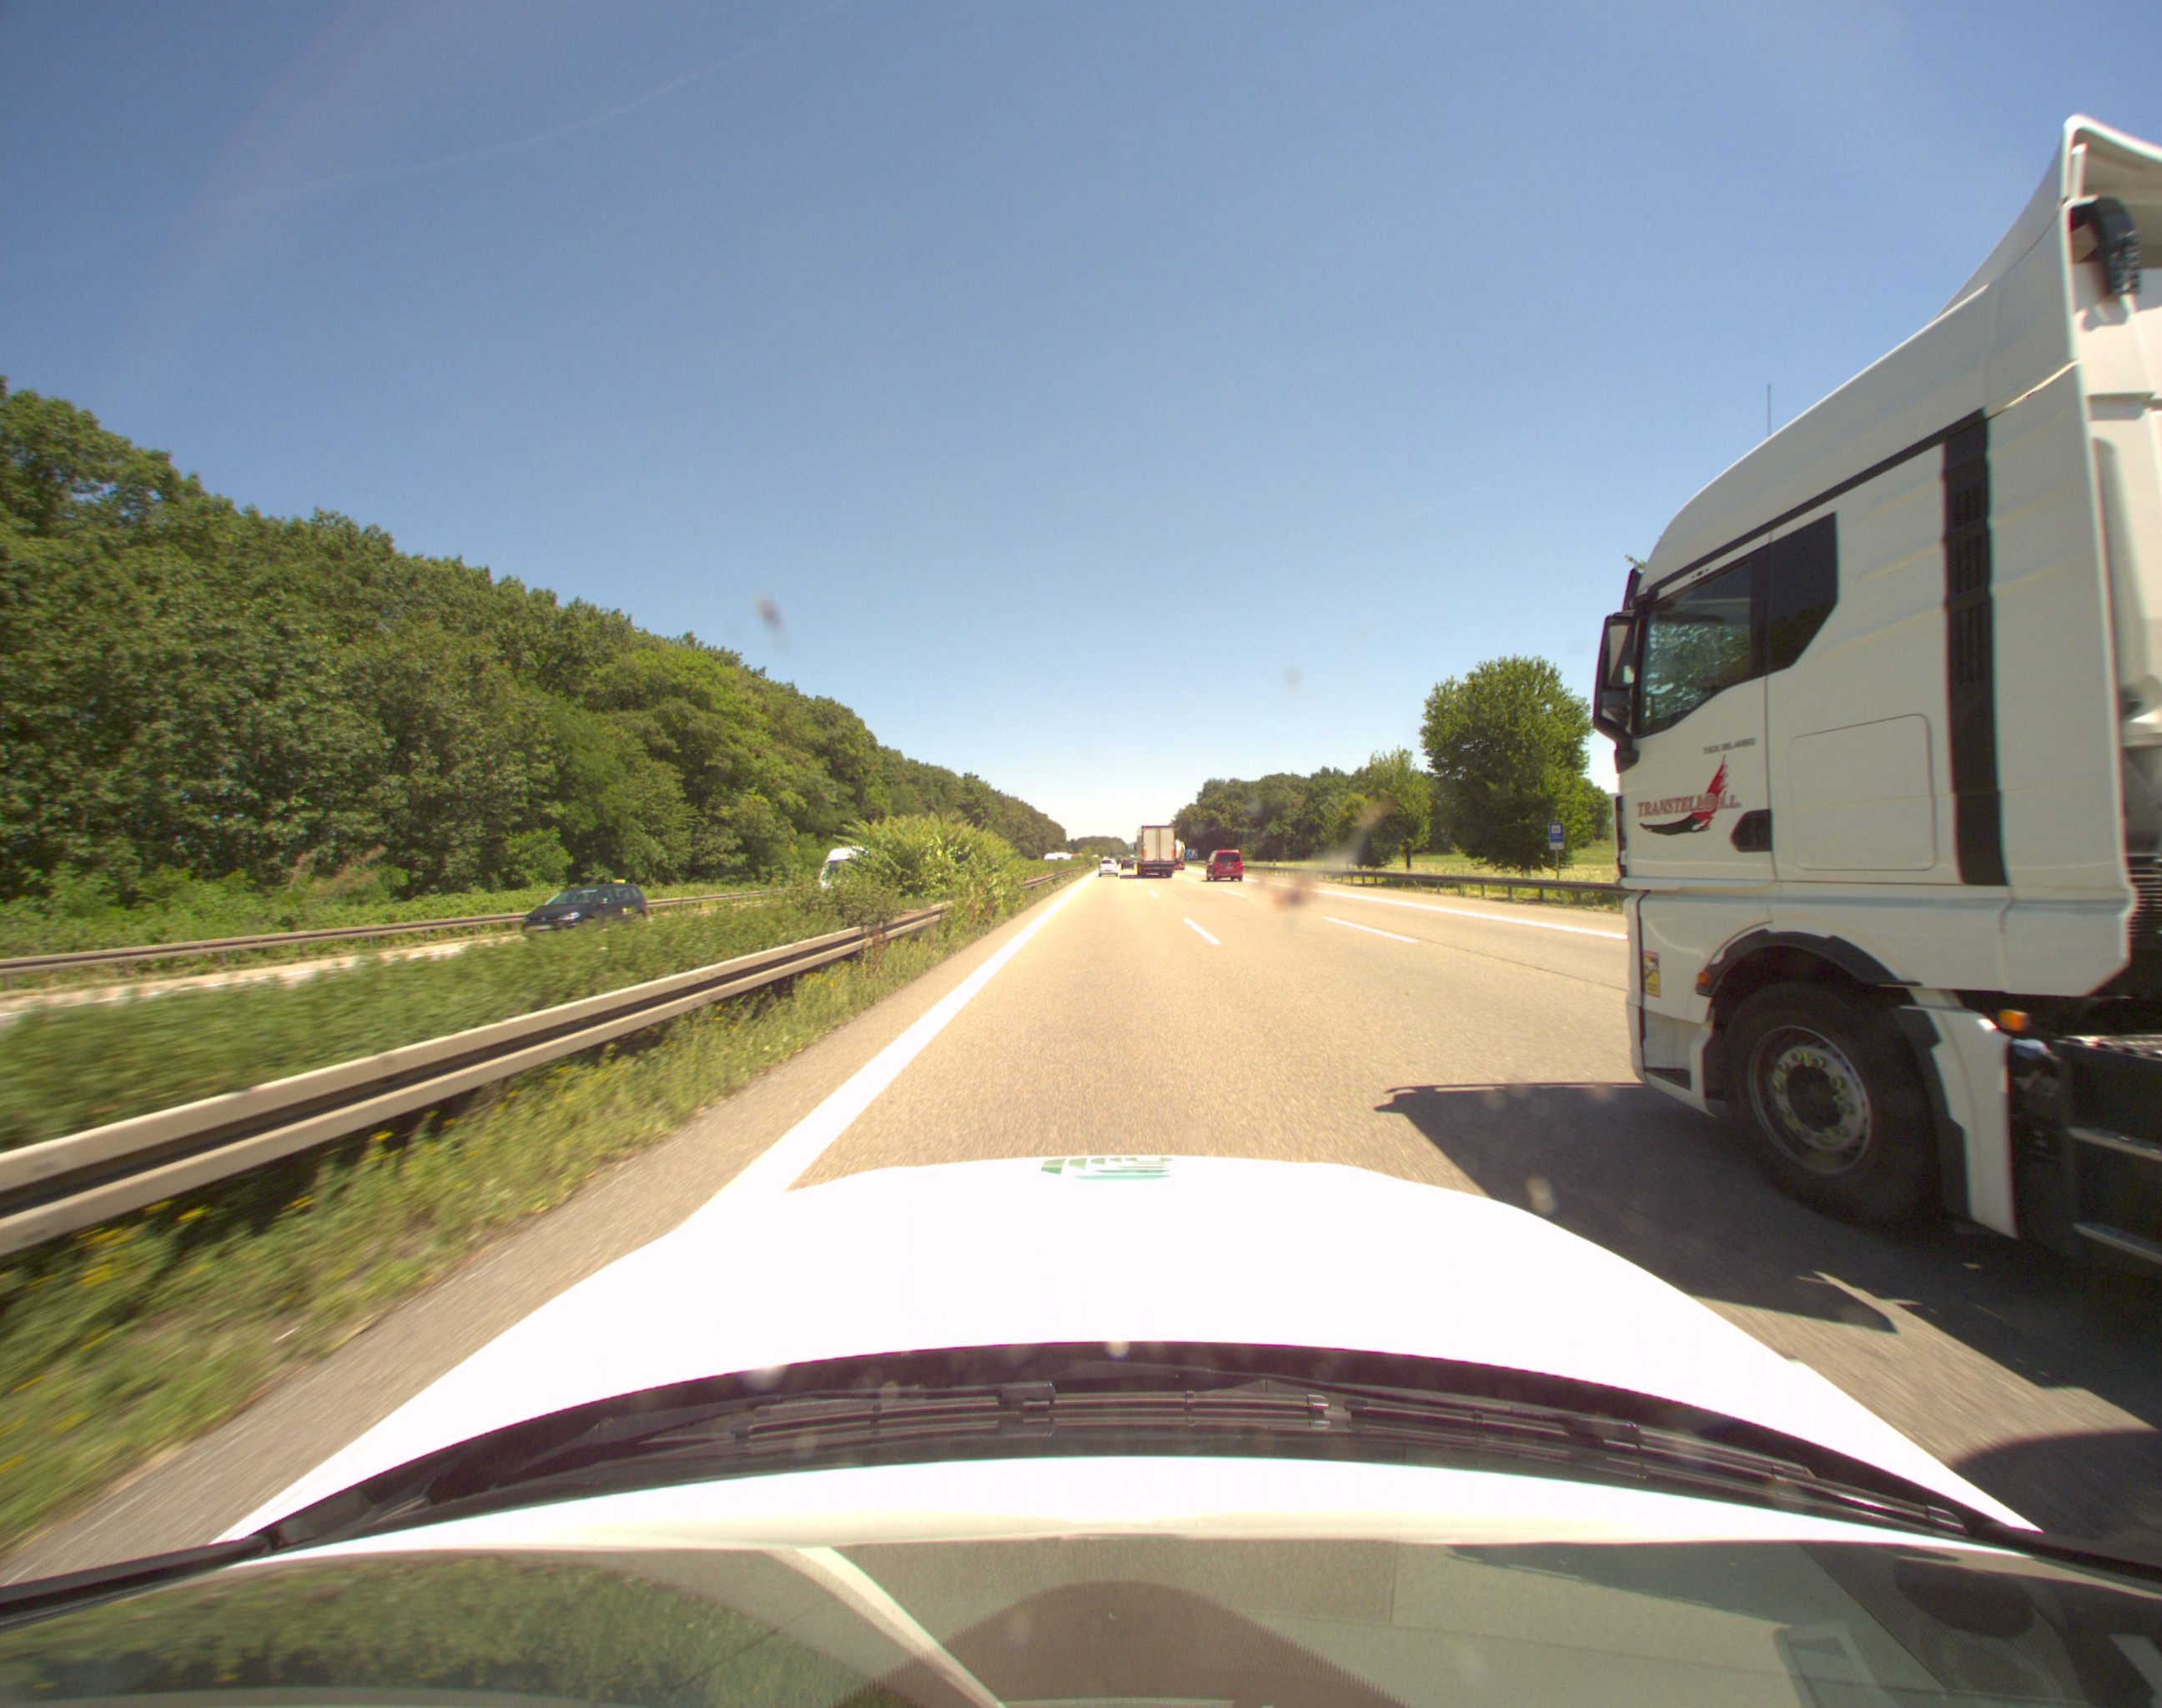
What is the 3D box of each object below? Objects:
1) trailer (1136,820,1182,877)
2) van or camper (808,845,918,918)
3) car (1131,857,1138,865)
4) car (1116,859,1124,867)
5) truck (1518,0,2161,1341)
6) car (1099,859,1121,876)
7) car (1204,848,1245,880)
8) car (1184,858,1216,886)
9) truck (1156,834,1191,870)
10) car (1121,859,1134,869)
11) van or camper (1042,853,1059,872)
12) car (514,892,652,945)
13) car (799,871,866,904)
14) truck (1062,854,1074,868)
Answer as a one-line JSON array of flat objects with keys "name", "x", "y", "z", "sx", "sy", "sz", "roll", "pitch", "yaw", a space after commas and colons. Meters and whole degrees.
[{"name": "trailer", "x": 6.255, "y": -0.396, "z": 67.221, "sx": 3.210, "sy": 4.143, "sz": 12.361, "roll": -2, "pitch": 0, "yaw": 3}, {"name": "van or camper", "x": -7.935, "y": 0.932, "z": 30.530, "sx": 1.986, "sy": 2.370, "sz": 7.002, "roll": -2, "pitch": 0, "yaw": 2}, {"name": "car", "x": 13.281, "y": 1.707, "z": 202.266, "sx": 1.662, "sy": 1.765, "sz": 4.001, "roll": -2, "pitch": 0, "yaw": 1}, {"name": "car", "x": 10.864, "y": 2.439, "z": 225.263, "sx": 2.099, "sy": 2.014, "sz": 4.001, "roll": -1, "pitch": 0, "yaw": 2}, {"name": "truck", "x": 4.364, "y": -0.791, "z": 3.098, "sx": 2.779, "sy": 4.204, "sz": 5.003, "roll": -2, "pitch": 0, "yaw": 3}, {"name": "car", "x": 2.491, "y": 1.145, "z": 71.100, "sx": 1.805, "sy": 1.405, "sz": 3.317, "roll": -2, "pitch": 0, "yaw": 0}, {"name": "car", "x": 9.418, "y": 0.646, "z": 53.857, "sx": 1.849, "sy": 2.003, "sz": 5.524, "roll": -1, "pitch": 0, "yaw": 2}, {"name": "car", "x": 9.196, "y": 1.353, "z": 63.087, "sx": 1.986, "sy": 2.014, "sz": 4.002, "roll": -1, "pitch": 0, "yaw": 2}, {"name": "truck", "x": 11.852, "y": -0.200, "z": 105.235, "sx": 3.213, "sy": 4.345, "sz": 10.807, "roll": -2, "pitch": 0, "yaw": 1}, {"name": "car", "x": 6.383, "y": 1.427, "z": 112.750, "sx": 1.662, "sy": 1.289, "sz": 4.001, "roll": -2, "pitch": 0, "yaw": 1}, {"name": "van or camper", "x": -4.758, "y": 1.301, "z": 128.057, "sx": 1.986, "sy": 2.846, "sz": 7.002, "roll": -2, "pitch": 0, "yaw": 2}, {"name": "car", "x": -15.589, "y": 1.968, "z": 25.751, "sx": 1.787, "sy": 1.338, "sz": 4.001, "roll": -2, "pitch": 0, "yaw": 1}, {"name": "car", "x": -11.678, "y": 1.542, "z": 38.517, "sx": 1.787, "sy": 1.338, "sz": 4.001, "roll": -2, "pitch": 0, "yaw": 1}, {"name": "truck", "x": -3.228, "y": 1.774, "z": 205.176, "sx": 2.401, "sy": 3.353, "sz": 7.002, "roll": -4, "pitch": 0, "yaw": 2}]
